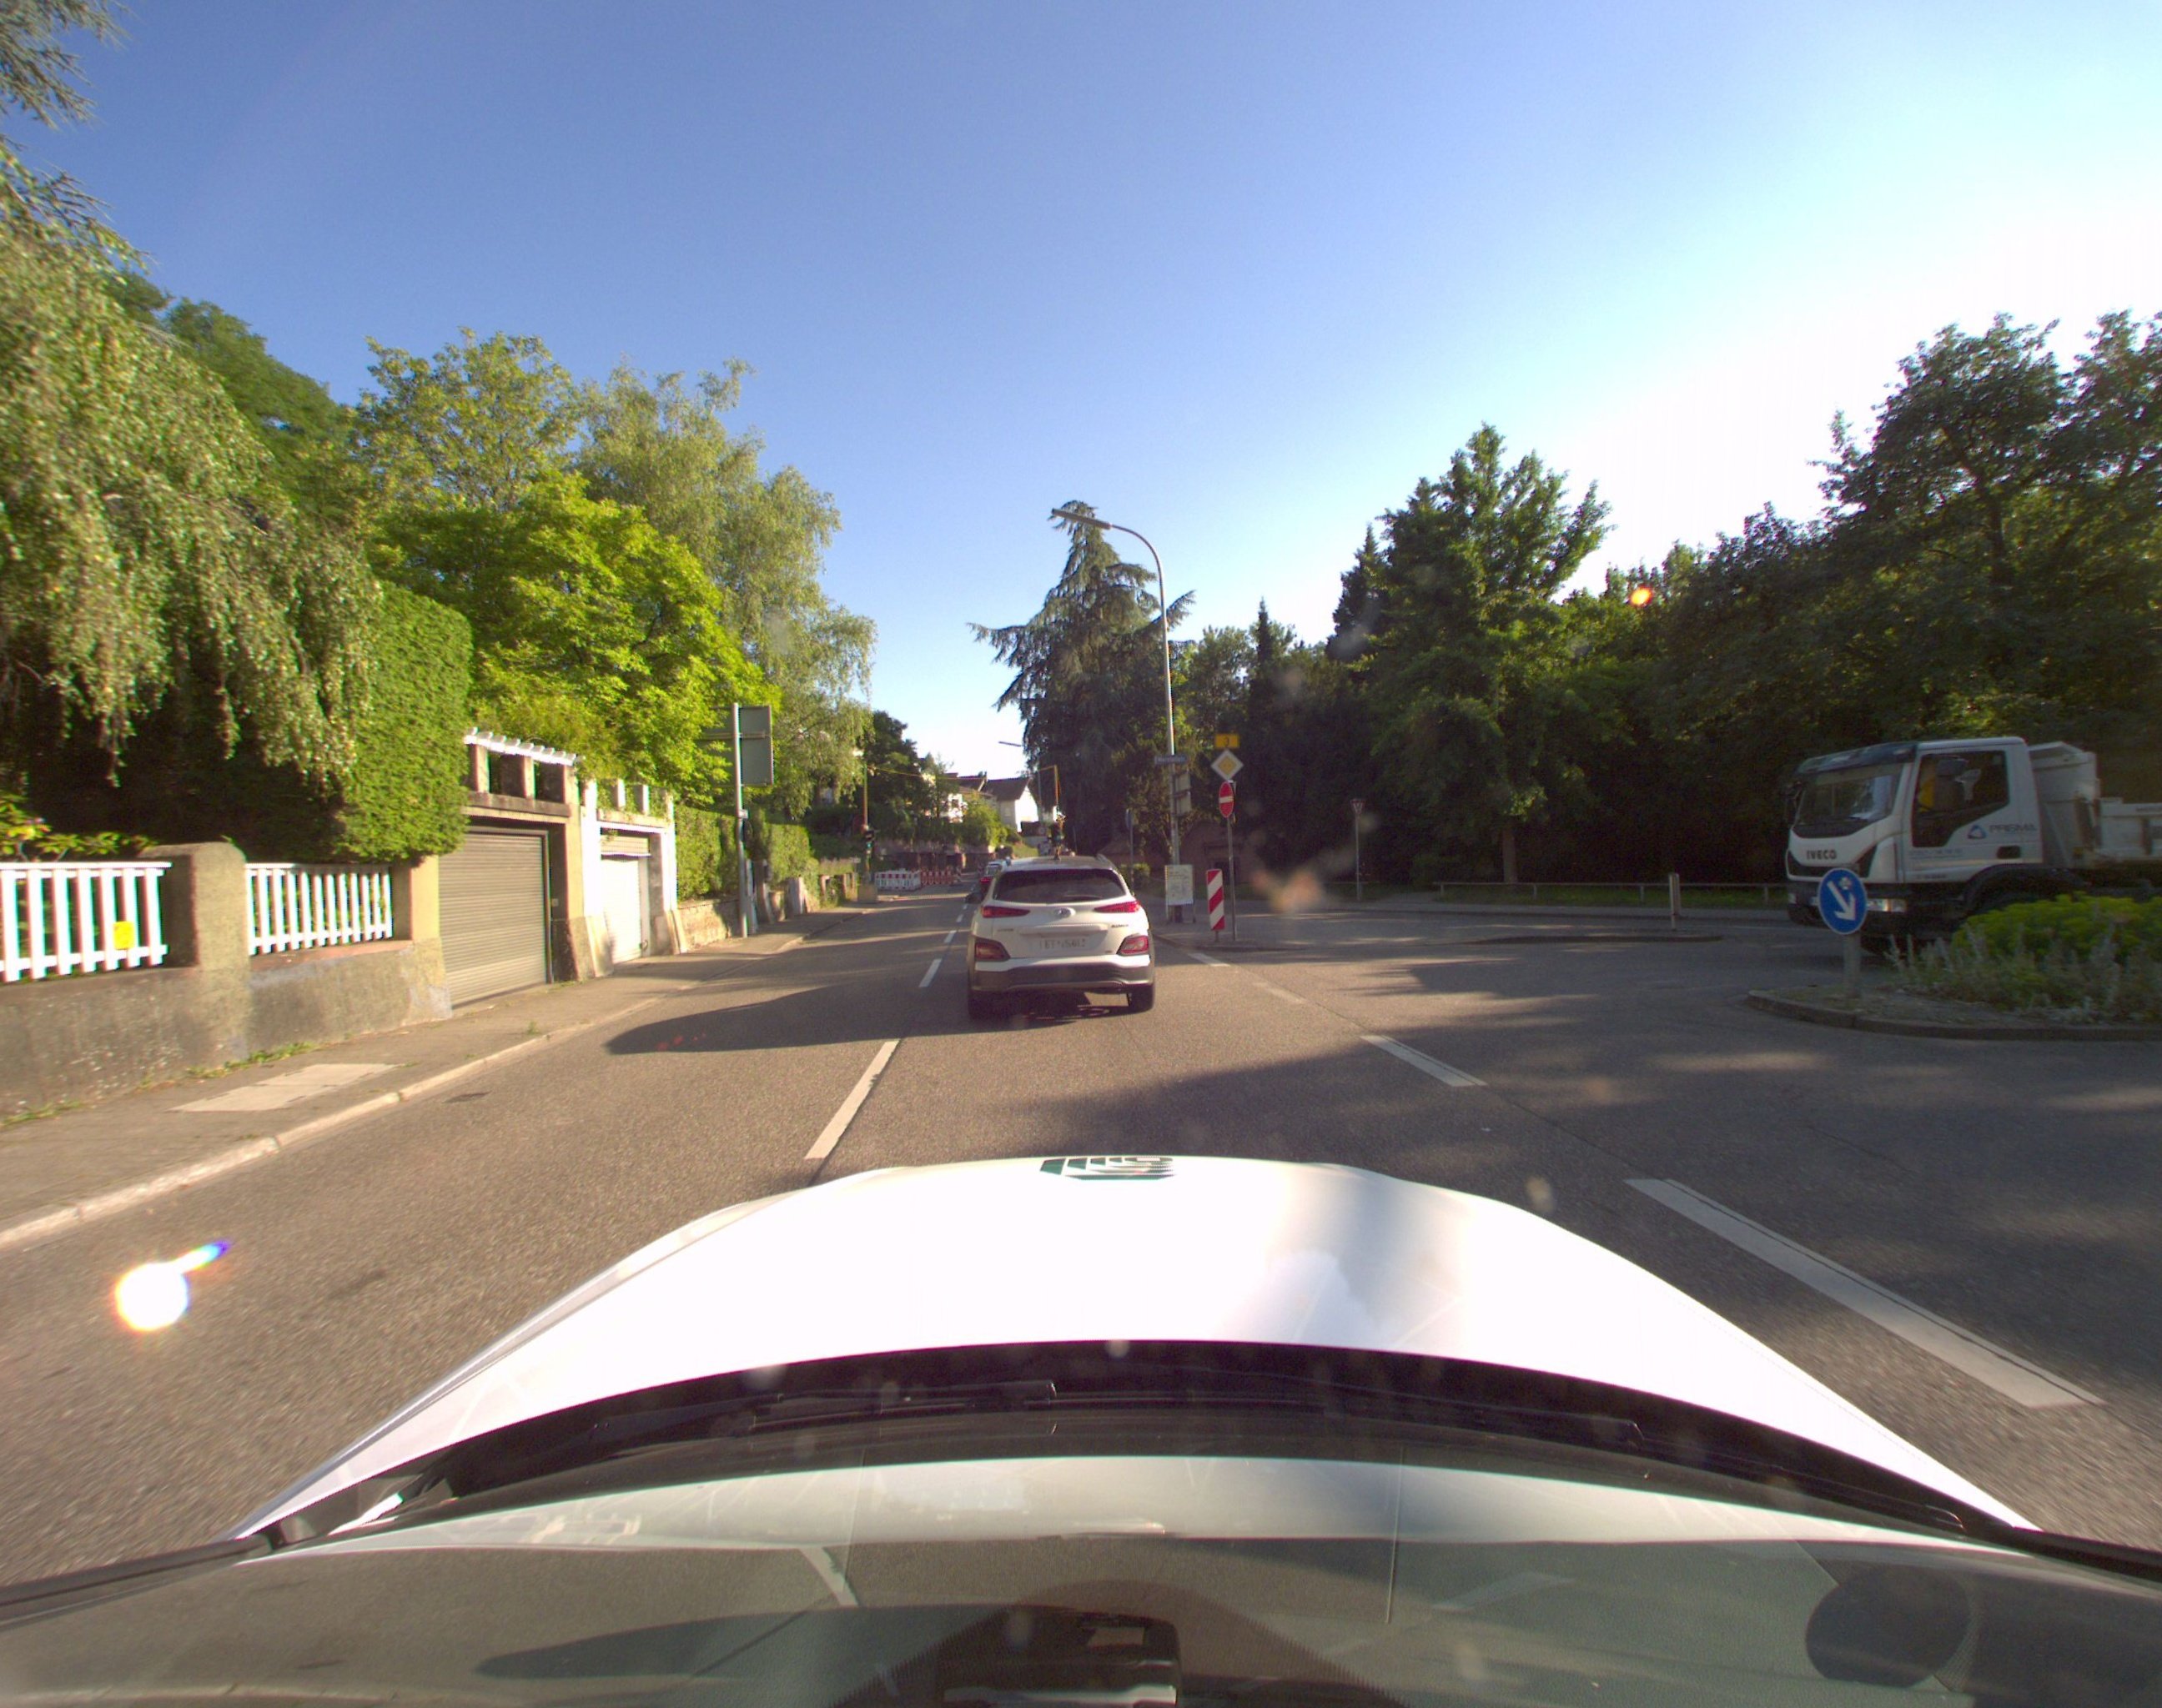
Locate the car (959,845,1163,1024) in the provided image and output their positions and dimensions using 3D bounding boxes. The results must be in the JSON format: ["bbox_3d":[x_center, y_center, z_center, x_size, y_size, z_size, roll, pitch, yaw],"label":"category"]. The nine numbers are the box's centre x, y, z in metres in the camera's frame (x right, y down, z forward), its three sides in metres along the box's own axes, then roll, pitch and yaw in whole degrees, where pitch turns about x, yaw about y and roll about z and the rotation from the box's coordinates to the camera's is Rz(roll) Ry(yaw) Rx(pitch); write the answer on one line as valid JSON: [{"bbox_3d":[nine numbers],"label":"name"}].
[{"bbox_3d":[-0.273,0.726,9.302,1.816,1.574,3.995,-1,0,-3],"label":"car"}]

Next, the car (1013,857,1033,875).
[{"bbox_3d":[-5.931,1.206,84.142,1.826,1.741,3.998,-1,0,-1],"label":"car"}]

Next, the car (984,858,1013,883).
[{"bbox_3d":[-5.341,1.043,52.737,1.803,1.537,3.991,-1,0,-7],"label":"car"}]

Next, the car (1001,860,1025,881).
[{"bbox_3d":[-5.746,1.390,69.277,1.827,1.662,3.996,-1,0,-3],"label":"car"}]

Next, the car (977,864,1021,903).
[{"bbox_3d":[-3.436,1.169,33.621,1.706,1.434,4.354,-1,0,-7],"label":"car"}]

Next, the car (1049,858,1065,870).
[{"bbox_3d":[-3.375,1.433,114.682,1.824,1.662,4.003,-1,0,3],"label":"car"}]

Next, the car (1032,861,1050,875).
[{"bbox_3d":[-4.911,1.748,100.715,1.825,1.662,4.001,-1,0,1],"label":"car"}]

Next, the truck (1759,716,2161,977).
[{"bbox_3d":[12.902,-0.096,10.043,6.537,2.895,2.443,-1,0,16],"label":"truck"}]
